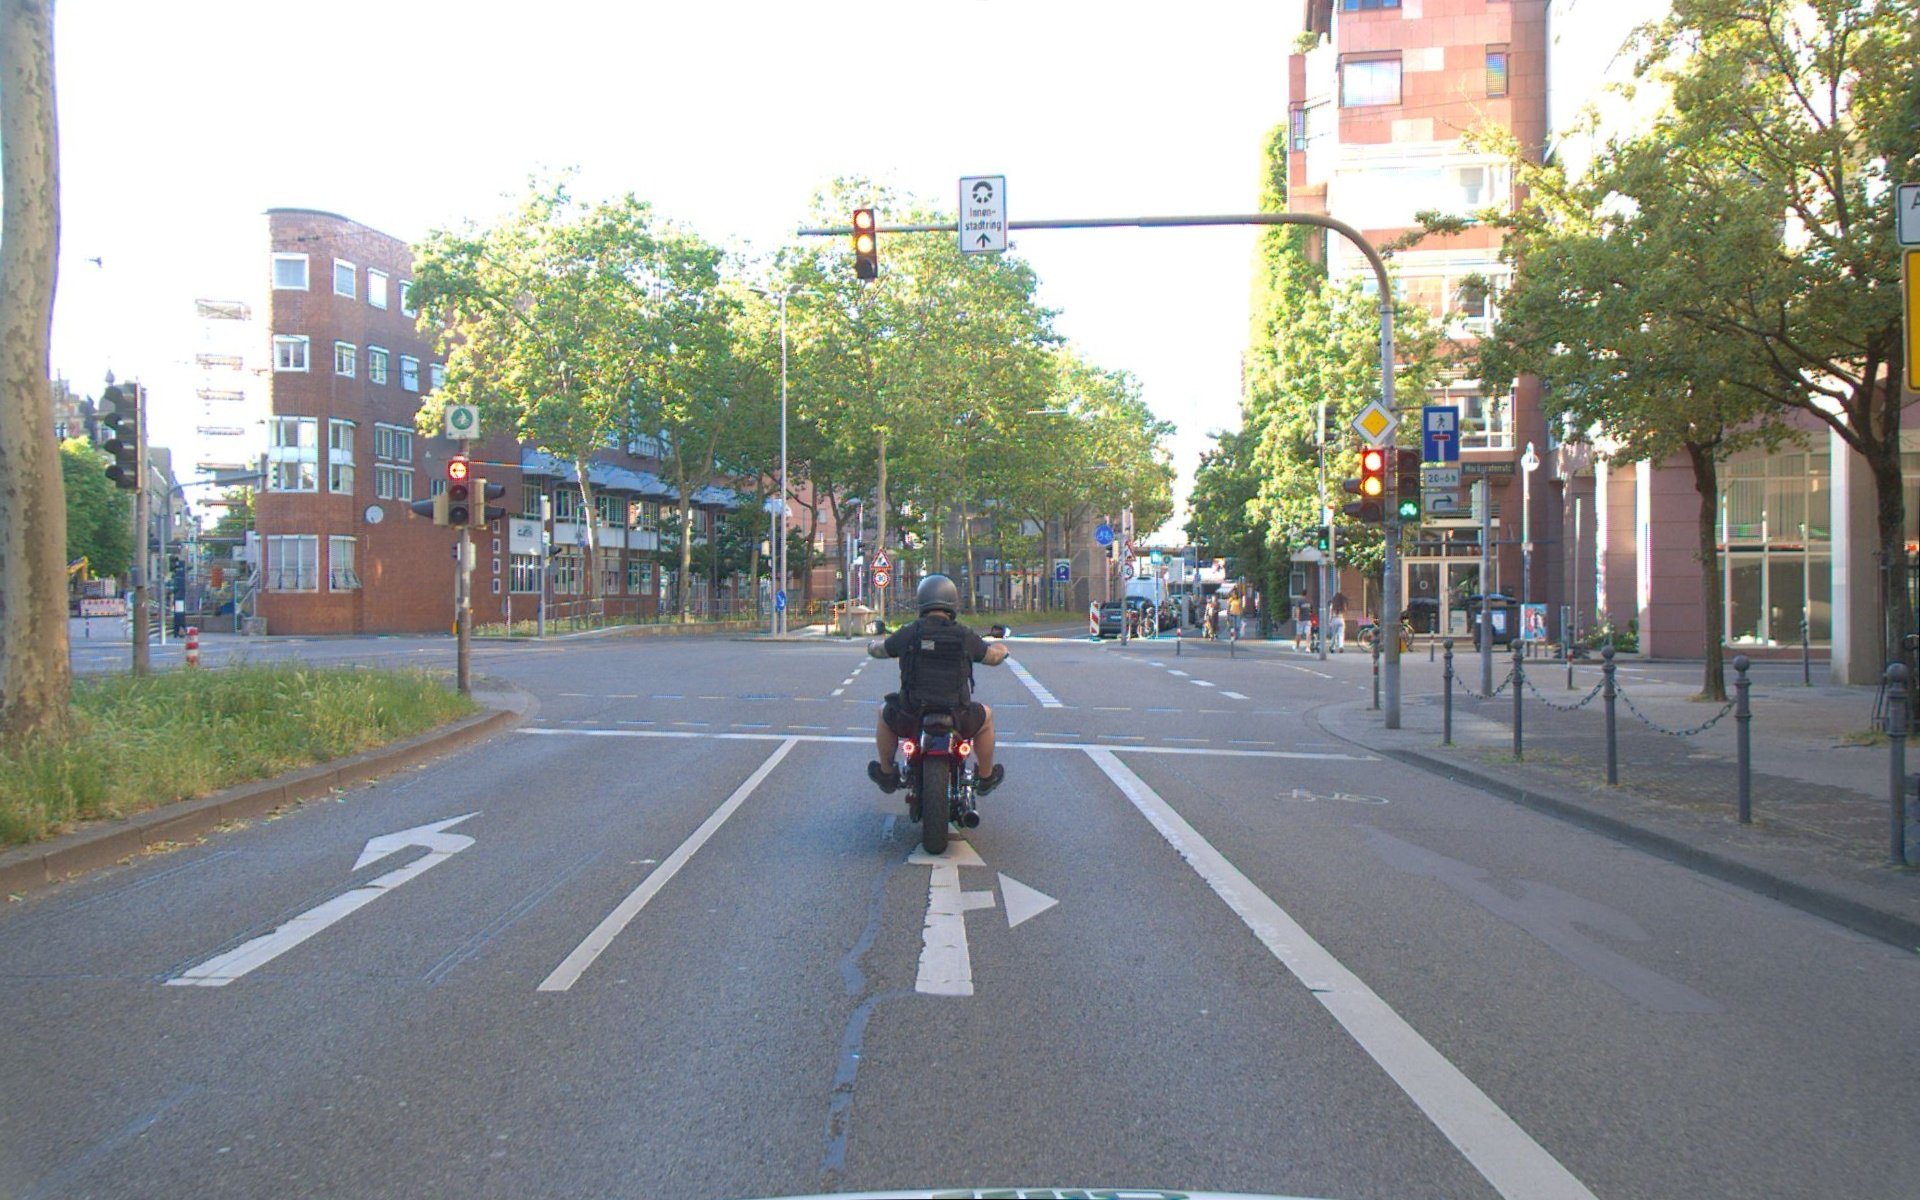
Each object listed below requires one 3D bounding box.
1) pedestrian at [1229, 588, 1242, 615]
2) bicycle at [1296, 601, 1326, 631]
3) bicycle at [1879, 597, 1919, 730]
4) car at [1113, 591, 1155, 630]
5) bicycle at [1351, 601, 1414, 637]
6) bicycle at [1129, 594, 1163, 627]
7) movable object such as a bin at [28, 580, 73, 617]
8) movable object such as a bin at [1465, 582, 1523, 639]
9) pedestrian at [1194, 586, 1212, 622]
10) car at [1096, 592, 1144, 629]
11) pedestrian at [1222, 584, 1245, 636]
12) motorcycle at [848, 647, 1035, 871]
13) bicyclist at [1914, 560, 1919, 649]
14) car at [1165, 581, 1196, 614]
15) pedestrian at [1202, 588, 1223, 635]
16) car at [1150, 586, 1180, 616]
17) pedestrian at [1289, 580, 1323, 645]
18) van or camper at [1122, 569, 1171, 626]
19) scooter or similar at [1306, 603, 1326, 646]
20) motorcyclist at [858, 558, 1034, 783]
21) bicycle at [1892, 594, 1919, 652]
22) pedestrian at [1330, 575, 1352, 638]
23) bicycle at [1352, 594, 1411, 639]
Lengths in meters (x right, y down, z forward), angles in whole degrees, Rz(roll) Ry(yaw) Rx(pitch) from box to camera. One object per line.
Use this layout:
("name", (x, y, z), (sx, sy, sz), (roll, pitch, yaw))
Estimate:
("pedestrian", (15.552, 0.087, 93.343), (0.749, 1.470, 0.781), (0, 0, 8))
("bicycle", (11.730, 0.523, 55.282), (0.721, 0.956, 1.753), (-1, 0, 4))
("bicycle", (9.439, 0.604, 15.803), (0.608, 1.247, 1.928), (-1, 0, 12))
("car", (7.736, 0.434, 73.147), (1.585, 1.647, 4.489), (-1, 0, 9))
("bicycle", (12.801, 0.572, 50.089), (1.712, 1.071, 0.738), (-1, 0, 28))
("bicycle", (6.278, 0.336, 55.877), (0.723, 1.071, 1.748), (-1, 0, -9))
("movable object such as a bin", (-59.334, -0.096, 107.965), (1.894, 2.351, 2.777), (-1, 0, -15))
("movable object such as a bin", (14.368, 0.287, 44.498), (1.380, 1.508, 0.872), (-1, 0, 11))
("pedestrian", (11.513, 0.183, 78.434), (0.747, 1.673, 0.547), (-1, 0, 2))
("car", (6.110, 0.384, 62.873), (1.585, 1.325, 4.315), (-1, 0, 8))
("pedestrian", (9.324, 0.330, 56.332), (0.685, 1.764, 0.768), (-1, 0, 3))
("motorcycle", (-0.089, 0.881, 9.867), (0.997, 1.116, 2.008), (0, 1, 0))
("bicyclist", (19.723, 0.091, 33.125), (0.807, 1.801, 0.789), (-1, 0, 8))
("car", (13.797, -0.167, 103.518), (1.796, 2.049, 4.392), (-1, 0, 9))
("pedestrian", (8.629, 0.390, 56.487), (0.630, 1.606, 0.748), (-1, 0, 3))
("car", (11.457, 0.058, 92.324), (1.585, 1.638, 3.777), (-1, 0, 8))
("pedestrian", (9.539, 0.339, 45.597), (0.769, 1.794, 0.610), (-1, 0, -1))
("van or camper", (9.002, -0.140, 79.393), (2.005, 2.585, 5.778), (-1, 0, 10))
("scooter or similar", (9.878, 0.671, 45.862), (0.386, 1.178, 1.250), (-1, 0, 6))
("motorcyclist", (-0.078, 0.409, 10.026), (0.991, 1.285, 0.774), (1, 0, 0))
("bicycle", (19.828, 0.446, 33.094), (1.874, 1.132, 0.804), (-1, 0, 8))
("pedestrian", (10.418, 0.174, 45.269), (0.449, 1.702, 0.680), (-1, 0, 2))
("bicycle", (11.986, 0.462, 47.025), (1.534, 1.248, 0.578), (-1, 0, 6))
